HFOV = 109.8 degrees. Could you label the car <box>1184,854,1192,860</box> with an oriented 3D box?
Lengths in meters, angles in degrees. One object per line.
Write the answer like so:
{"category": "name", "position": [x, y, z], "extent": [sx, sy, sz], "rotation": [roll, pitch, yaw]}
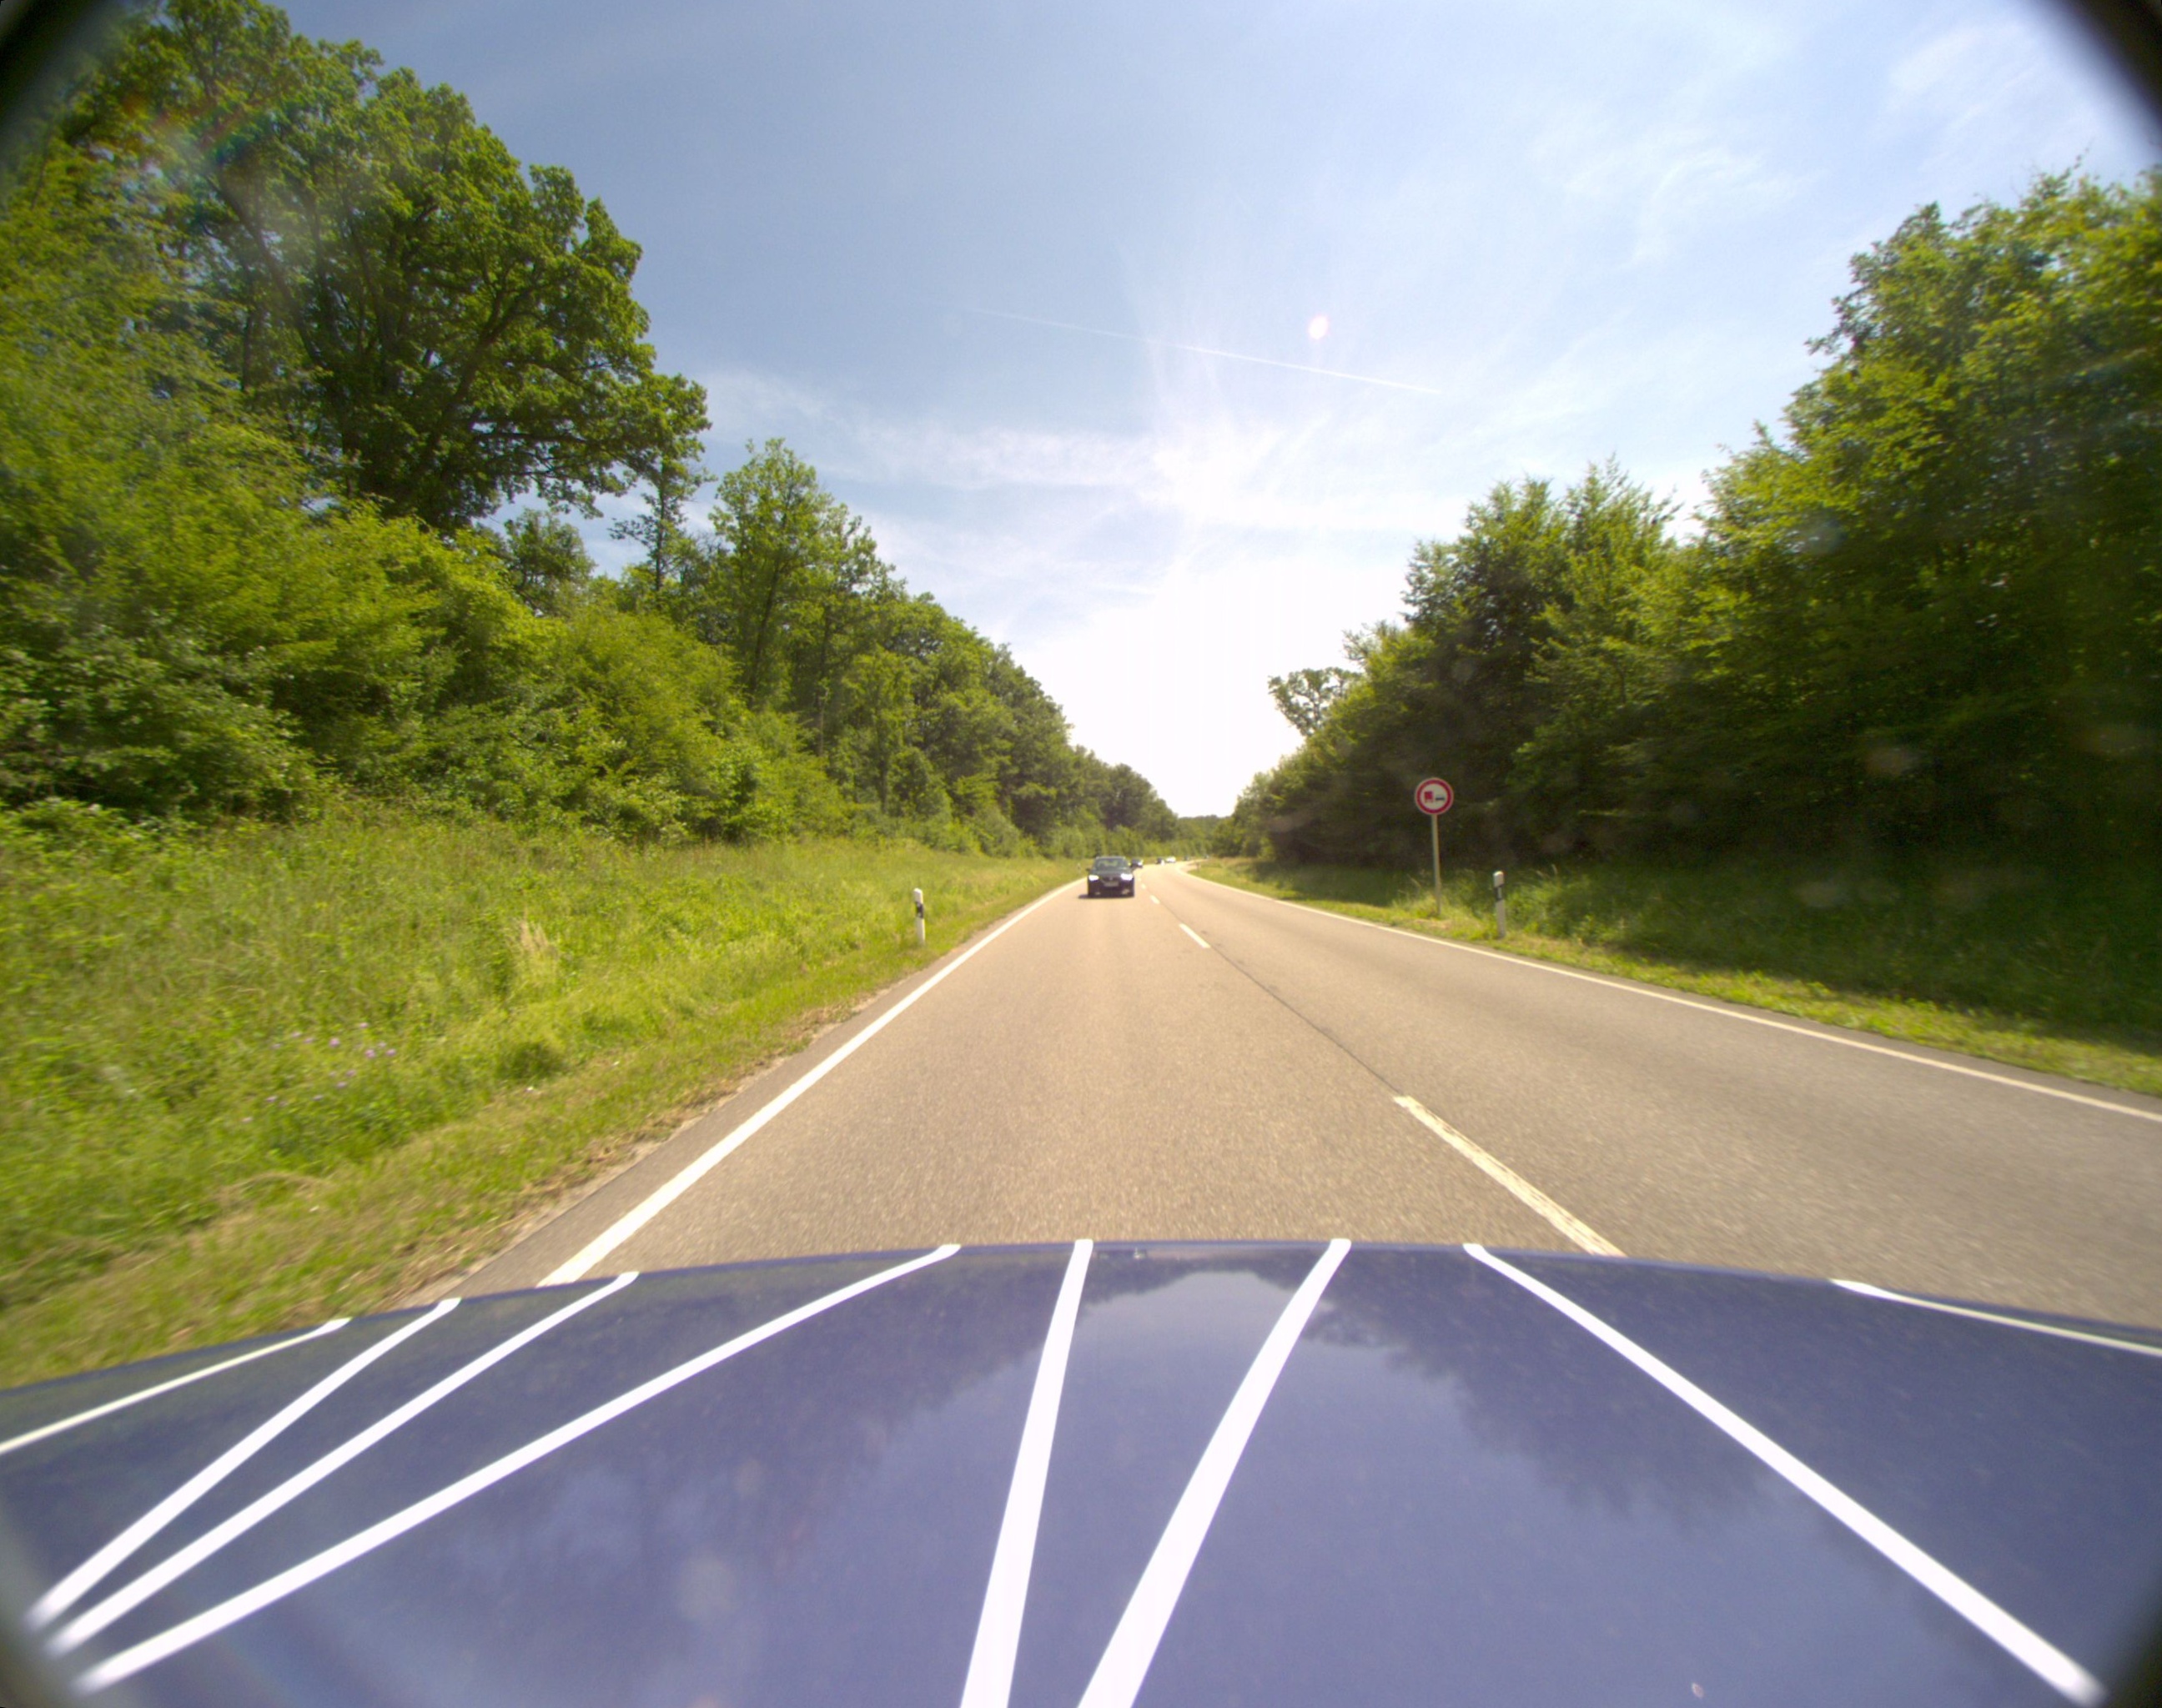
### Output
{"category": "car", "position": [30.117, 0.826, 213.947], "extent": [1.690, 1.718, 4.005], "rotation": [-2, 0, 16]}

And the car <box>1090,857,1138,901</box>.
{"category": "car", "position": [1.339, 0.905, 29.470], "extent": [1.713, 1.516, 4.243], "rotation": [-1, 0, 4]}

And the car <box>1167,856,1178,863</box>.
{"category": "car", "position": [21.775, 1.325, 181.136], "extent": [2.017, 1.737, 4.385], "rotation": [-1, 0, 13]}

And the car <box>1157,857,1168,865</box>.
{"category": "car", "position": [16.531, 1.378, 154.550], "extent": [1.774, 1.454, 4.003], "rotation": [-1, 0, 11]}

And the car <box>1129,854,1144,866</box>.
{"category": "car", "position": [7.647, 0.819, 104.545], "extent": [1.775, 1.454, 3.950], "rotation": [-1, 0, 6]}
